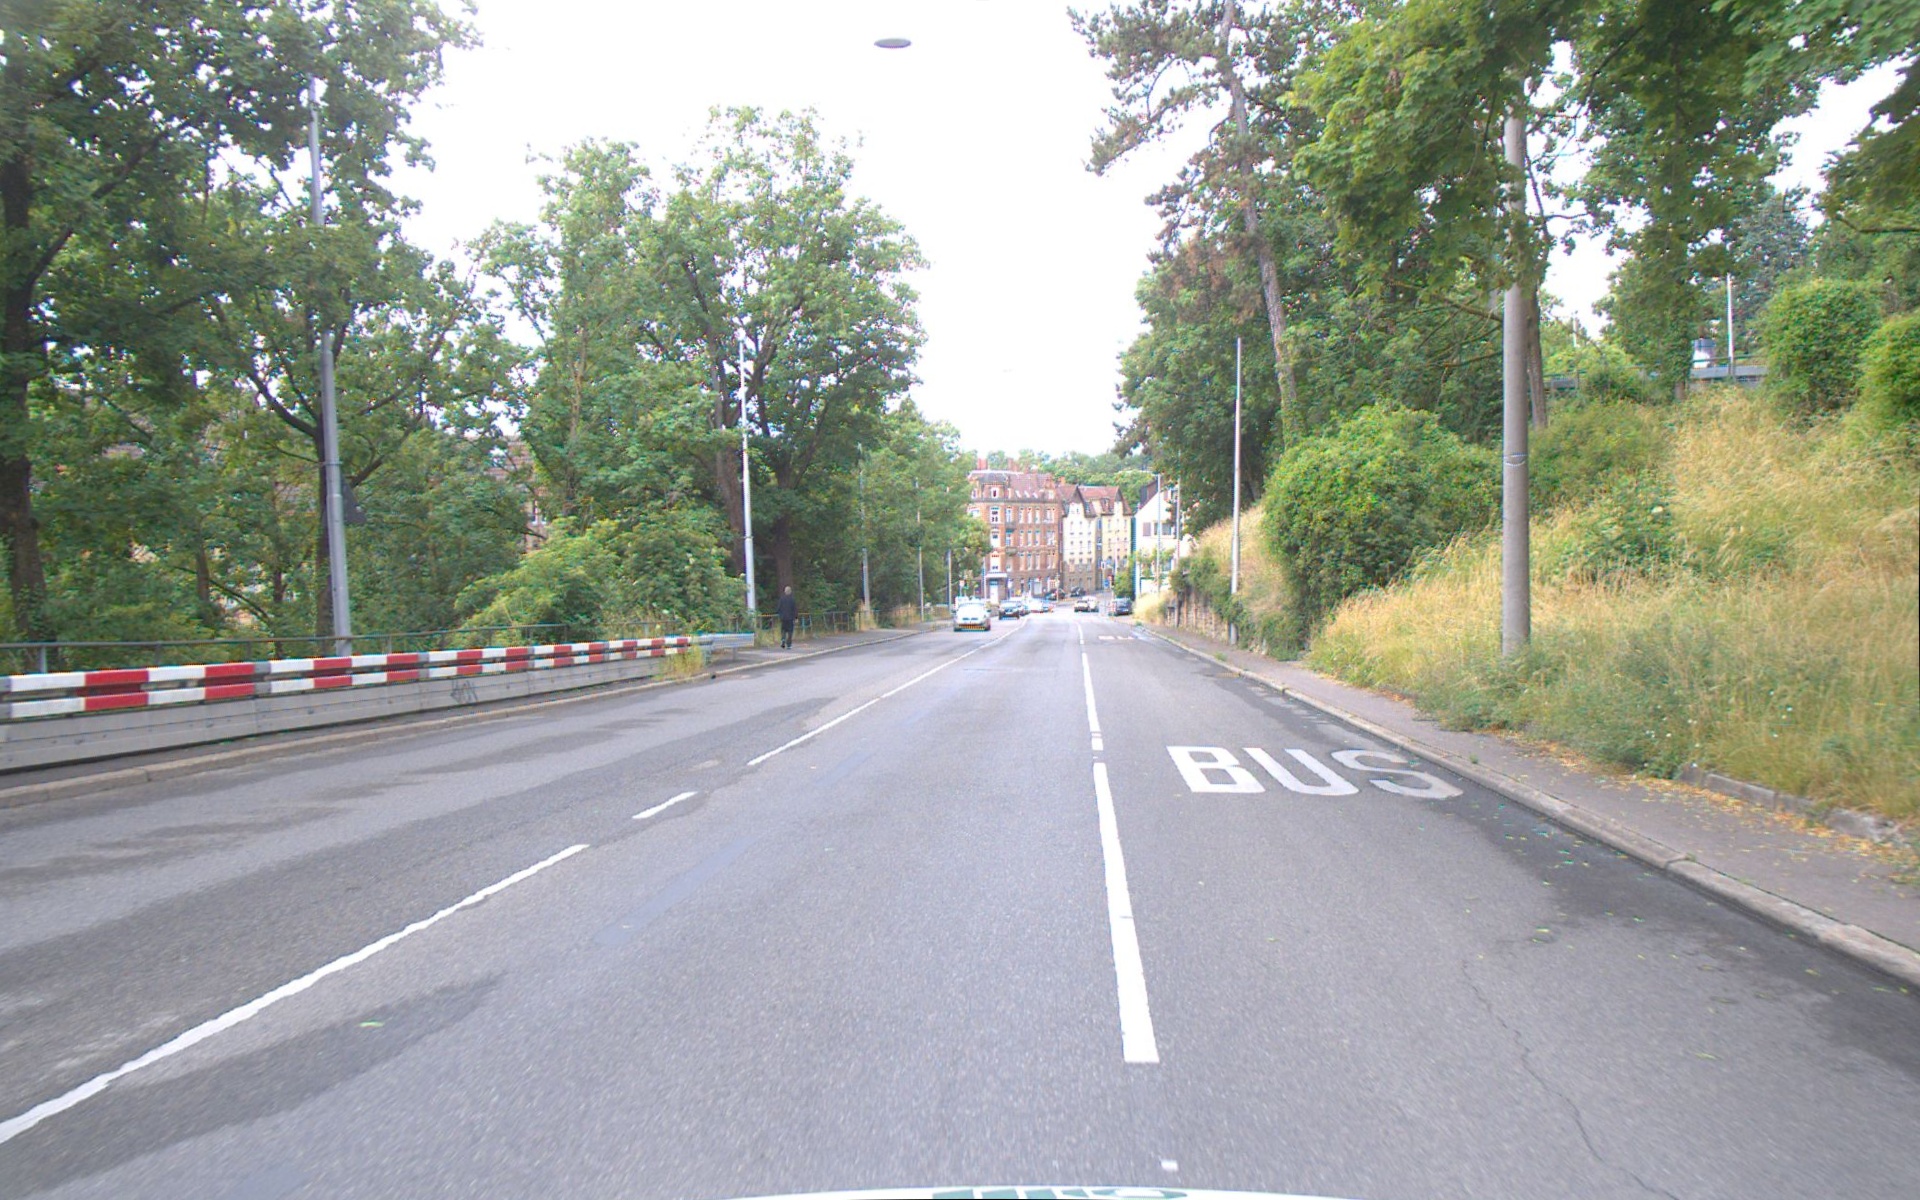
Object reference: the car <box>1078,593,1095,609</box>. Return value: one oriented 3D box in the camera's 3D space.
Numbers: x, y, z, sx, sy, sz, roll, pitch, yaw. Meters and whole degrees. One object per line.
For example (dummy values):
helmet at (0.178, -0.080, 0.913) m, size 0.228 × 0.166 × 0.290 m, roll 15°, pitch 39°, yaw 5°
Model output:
car at (16.077, 0.136, 209.520) m, size 1.868 × 1.917 × 4.003 m, roll 1°, pitch 0°, yaw 8°

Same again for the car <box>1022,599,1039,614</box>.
car at (7.846, 0.712, 184.564) m, size 1.746 × 1.602 × 4.282 m, roll -2°, pitch 0°, yaw 3°

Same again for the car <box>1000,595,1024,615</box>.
car at (4.116, 0.417, 130.125) m, size 1.634 × 1.472 × 3.690 m, roll -2°, pitch 0°, yaw 4°

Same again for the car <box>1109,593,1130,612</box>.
car at (13.725, 0.193, 142.500) m, size 1.646 × 1.476 × 4.002 m, roll -4°, pitch -1°, yaw 4°

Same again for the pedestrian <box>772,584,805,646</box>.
pedestrian at (-5.073, 0.438, 49.019) m, size 0.772 × 1.805 × 1.209 m, roll 2°, pitch 0°, yaw 1°

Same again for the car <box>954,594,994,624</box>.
car at (0.713, 0.434, 82.724) m, size 1.756 × 1.452 × 4.145 m, roll 0°, pitch 0°, yaw 4°

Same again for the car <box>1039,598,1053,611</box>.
car at (10.645, 0.559, 204.505) m, size 1.746 × 1.485 × 4.430 m, roll -2°, pitch 0°, yaw 3°

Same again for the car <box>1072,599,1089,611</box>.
car at (14.769, 0.631, 202.086) m, size 1.778 × 1.455 × 4.003 m, roll 1°, pitch 0°, yaw 8°
